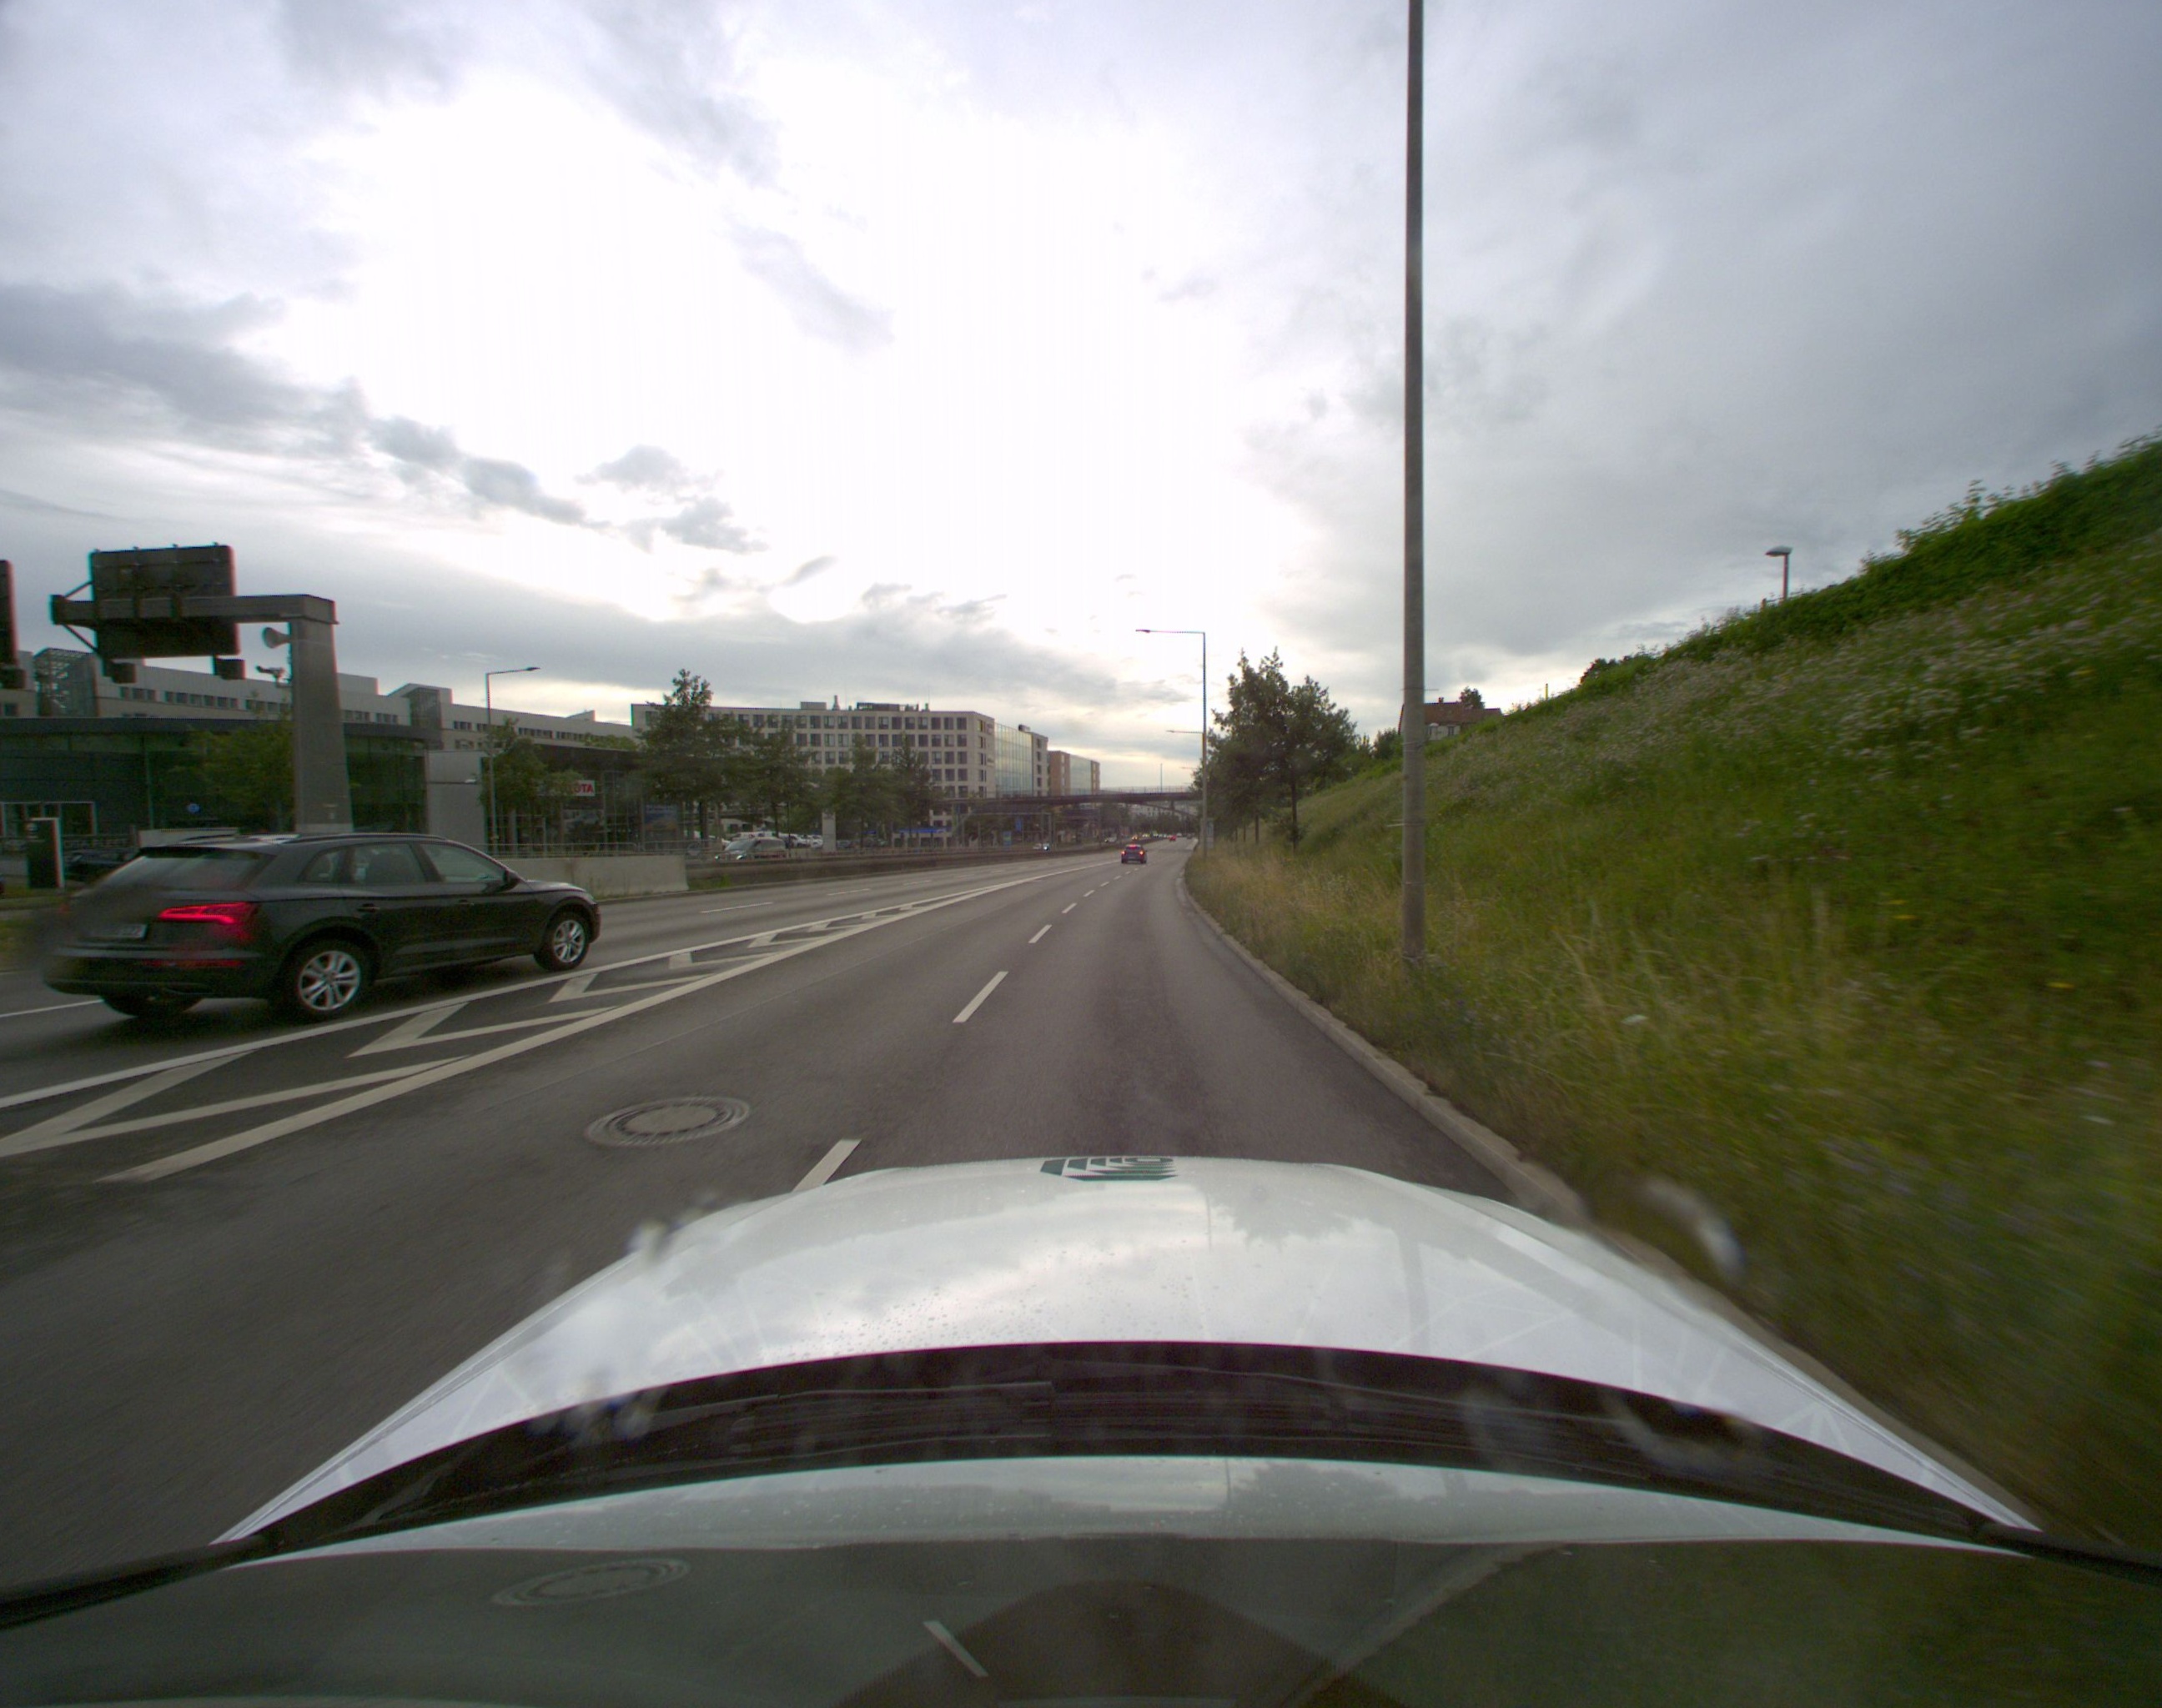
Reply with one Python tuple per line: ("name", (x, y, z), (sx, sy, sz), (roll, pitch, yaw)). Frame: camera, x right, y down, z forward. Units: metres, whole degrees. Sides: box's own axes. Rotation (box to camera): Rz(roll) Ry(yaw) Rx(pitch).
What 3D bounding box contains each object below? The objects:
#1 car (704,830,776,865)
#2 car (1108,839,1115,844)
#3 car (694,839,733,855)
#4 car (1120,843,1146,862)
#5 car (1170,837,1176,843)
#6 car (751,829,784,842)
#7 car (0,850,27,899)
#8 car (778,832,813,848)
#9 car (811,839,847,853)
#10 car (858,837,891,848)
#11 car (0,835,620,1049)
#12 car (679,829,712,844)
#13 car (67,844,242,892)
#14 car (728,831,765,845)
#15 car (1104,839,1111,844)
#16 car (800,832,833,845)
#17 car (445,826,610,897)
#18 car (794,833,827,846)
("car", (-19.347, -0.410, 46.381), (1.983, 1.749, 4.010), (2, 3, 8))
("car", (8.359, -3.463, 221.164), (1.509, 1.420, 3.487), (0, 2, 8))
("car", (-44.743, -0.888, 99.189), (3.959, 1.650, 2.008), (2, 4, 13))
("car", (4.104, -0.111, 63.631), (1.738, 1.420, 3.487), (-1, 0, 9))
("car", (27.851, -4.274, 246.406), (1.854, 1.749, 4.007), (1, 4, 5))
("car", (-43.919, -2.599, 114.149), (3.968, 1.650, 1.824), (1, 4, 5))
("car", (-40.613, 0.726, 29.057), (3.963, 1.683, 1.929), (2, 4, 9))
("car", (-37.958, -1.852, 108.218), (3.959, 1.875, 2.008), (2, 4, 13))
("car", (-30.787, -0.979, 99.472), (4.002, 1.650, 1.986), (1, 2, -22))
("car", (-28.381, -1.602, 111.834), (3.962, 1.354, 1.855), (2, 2, 10))
("car", (-7.291, 0.635, 8.616), (1.742, 1.617, 4.757), (0, 1, 6))
("car", (-53.202, -2.454, 112.487), (4.012, 2.048, 1.982), (-1, 4, -30))
("car", (-39.295, 0.523, 34.708), (1.899, 1.683, 4.530), (3, 4, 27))
("car", (-44.051, -2.096, 107.359), (3.966, 1.650, 2.004), (2, 2, 6))
("car", (7.700, -3.637, 233.721), (1.509, 1.420, 3.487), (0, 2, 8))
("car", (-37.707, -2.224, 116.209), (3.959, 1.650, 2.008), (2, 4, 13))
("car", (-14.559, 0.124, 21.688), (1.679, 1.590, 3.557), (2, 4, 7))
("car", (-37.719, -2.005, 113.636), (3.959, 1.650, 2.008), (2, 4, 13))
